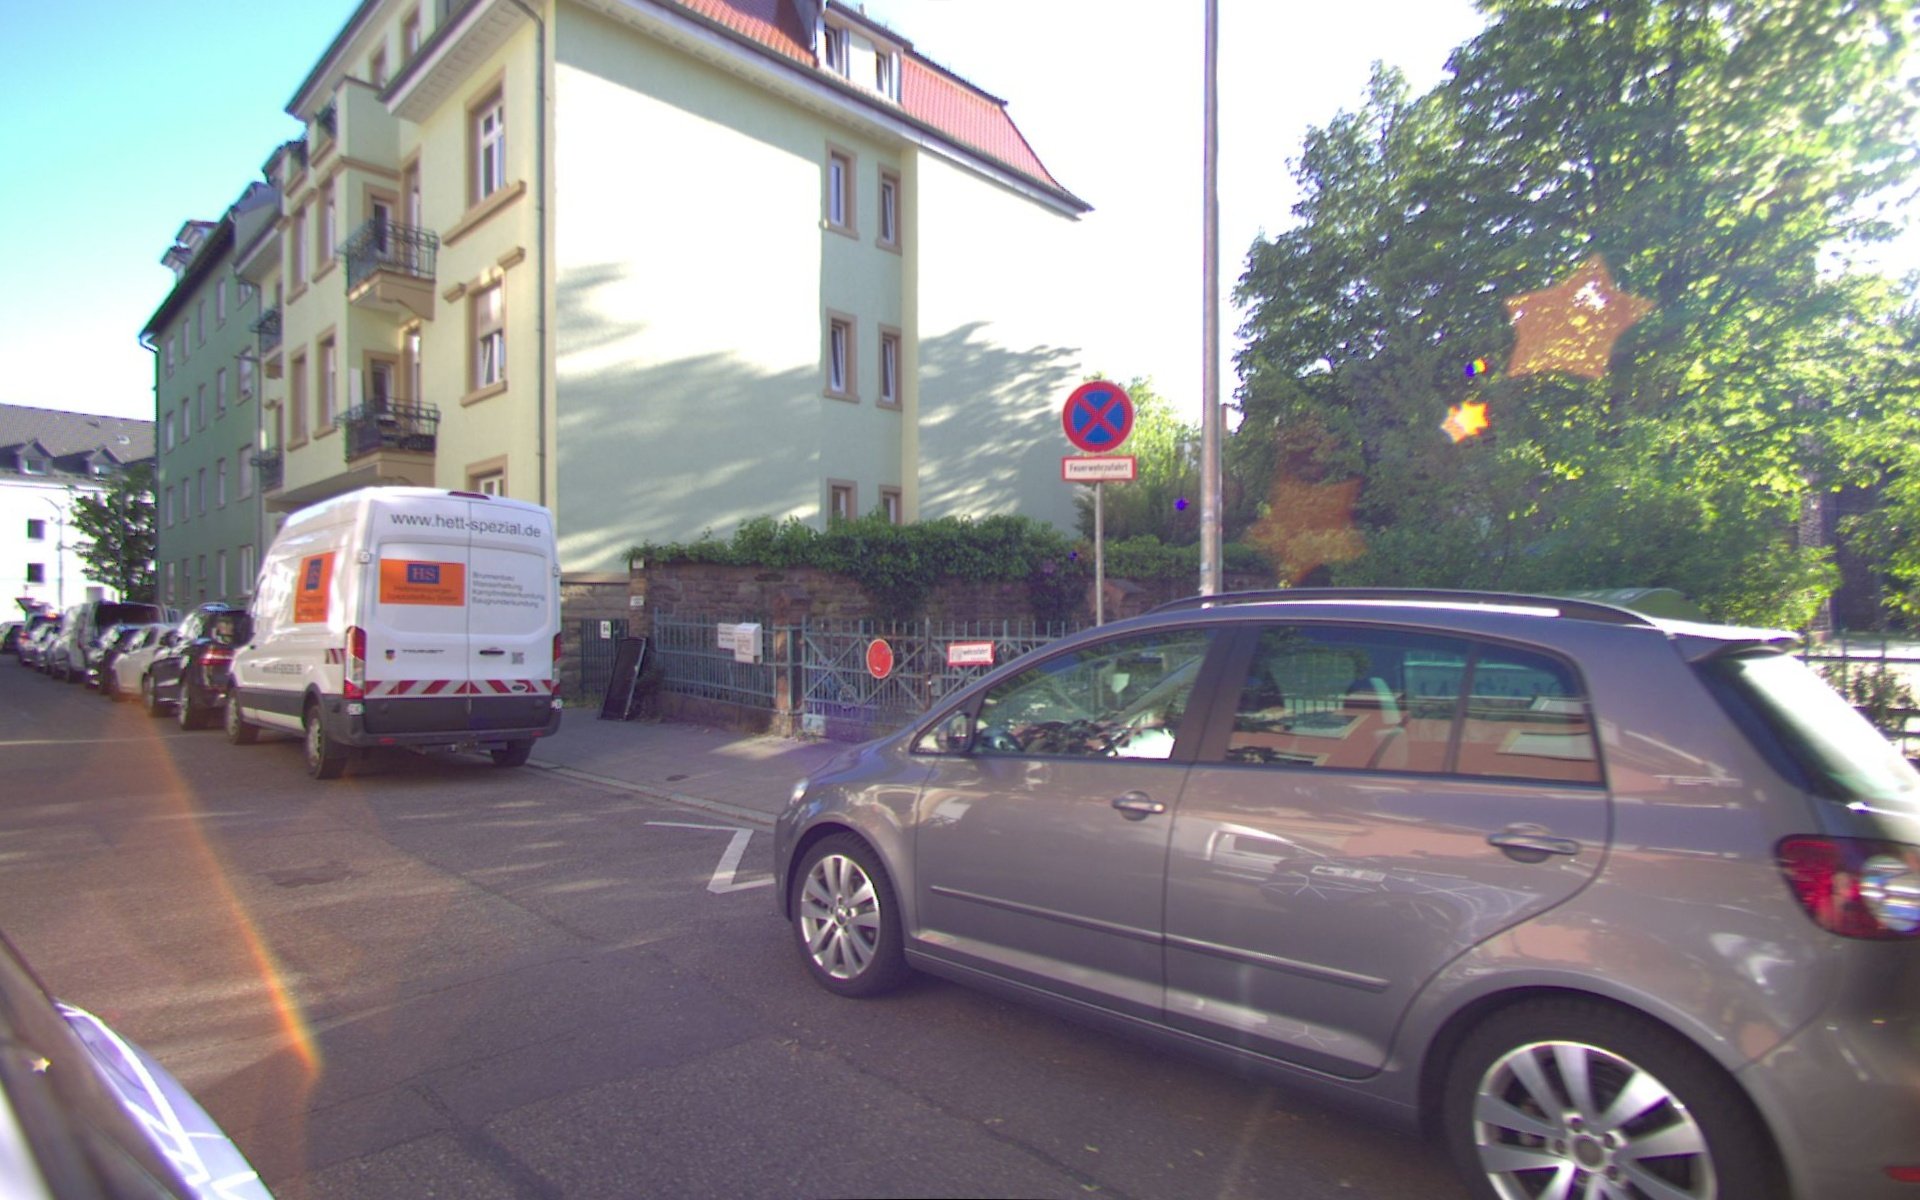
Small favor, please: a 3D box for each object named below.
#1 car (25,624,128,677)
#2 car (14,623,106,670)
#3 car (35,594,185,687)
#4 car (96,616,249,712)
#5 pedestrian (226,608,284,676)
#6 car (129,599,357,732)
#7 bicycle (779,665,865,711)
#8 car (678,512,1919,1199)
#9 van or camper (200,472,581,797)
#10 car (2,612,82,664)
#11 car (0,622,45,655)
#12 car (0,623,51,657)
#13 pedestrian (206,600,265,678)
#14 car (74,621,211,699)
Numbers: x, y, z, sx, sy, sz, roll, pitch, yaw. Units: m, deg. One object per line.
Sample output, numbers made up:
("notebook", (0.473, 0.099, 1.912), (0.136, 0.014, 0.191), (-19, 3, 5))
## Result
("car", (-26.471, 1.476, 30.277), (4.363, 1.473, 1.813), (-1, -4, 43))
("car", (-30.083, 1.528, 33.772), (4.505, 1.473, 1.702), (-1, -3, 41))
("car", (-22.305, 1.044, 26.482), (5.242, 2.185, 2.227), (-1, -4, 42))
("car", (-14.687, 1.106, 18.801), (4.089, 1.563, 1.617), (-1, -2, 43))
("pedestrian", (-18.014, 1.052, 25.855), (1.243, 1.687, 0.981), (-1, -1, 43))
("car", (-10.982, 0.918, 15.341), (4.970, 1.698, 1.854), (-1, -3, 44))
("bicycle", (-1.947, 1.212, 14.151), (0.400, 0.545, 1.433), (-1, -1, -45))
("car", (0.936, 0.711, 3.758), (4.469, 1.603, 1.760), (-1, -3, 44))
("van or camper", (-6.694, 0.377, 11.492), (5.853, 2.790, 2.104), (-1, -3, 44))
("car", (-34.658, 1.396, 38.154), (4.415, 1.857, 1.752), (-1, -3, 42))
("car", (-47.493, 1.911, 50.742), (4.068, 1.567, 1.702), (-1, -3, 38))
("car", (-43.660, 1.864, 47.003), (4.207, 1.464, 1.746), (-2, -5, 43))
("pedestrian", (-18.218, 0.962, 25.459), (1.243, 1.875, 0.981), (-1, -1, 43))
("car", (-18.011, 1.242, 22.207), (4.826, 1.533, 1.746), (-1, -2, 44))
